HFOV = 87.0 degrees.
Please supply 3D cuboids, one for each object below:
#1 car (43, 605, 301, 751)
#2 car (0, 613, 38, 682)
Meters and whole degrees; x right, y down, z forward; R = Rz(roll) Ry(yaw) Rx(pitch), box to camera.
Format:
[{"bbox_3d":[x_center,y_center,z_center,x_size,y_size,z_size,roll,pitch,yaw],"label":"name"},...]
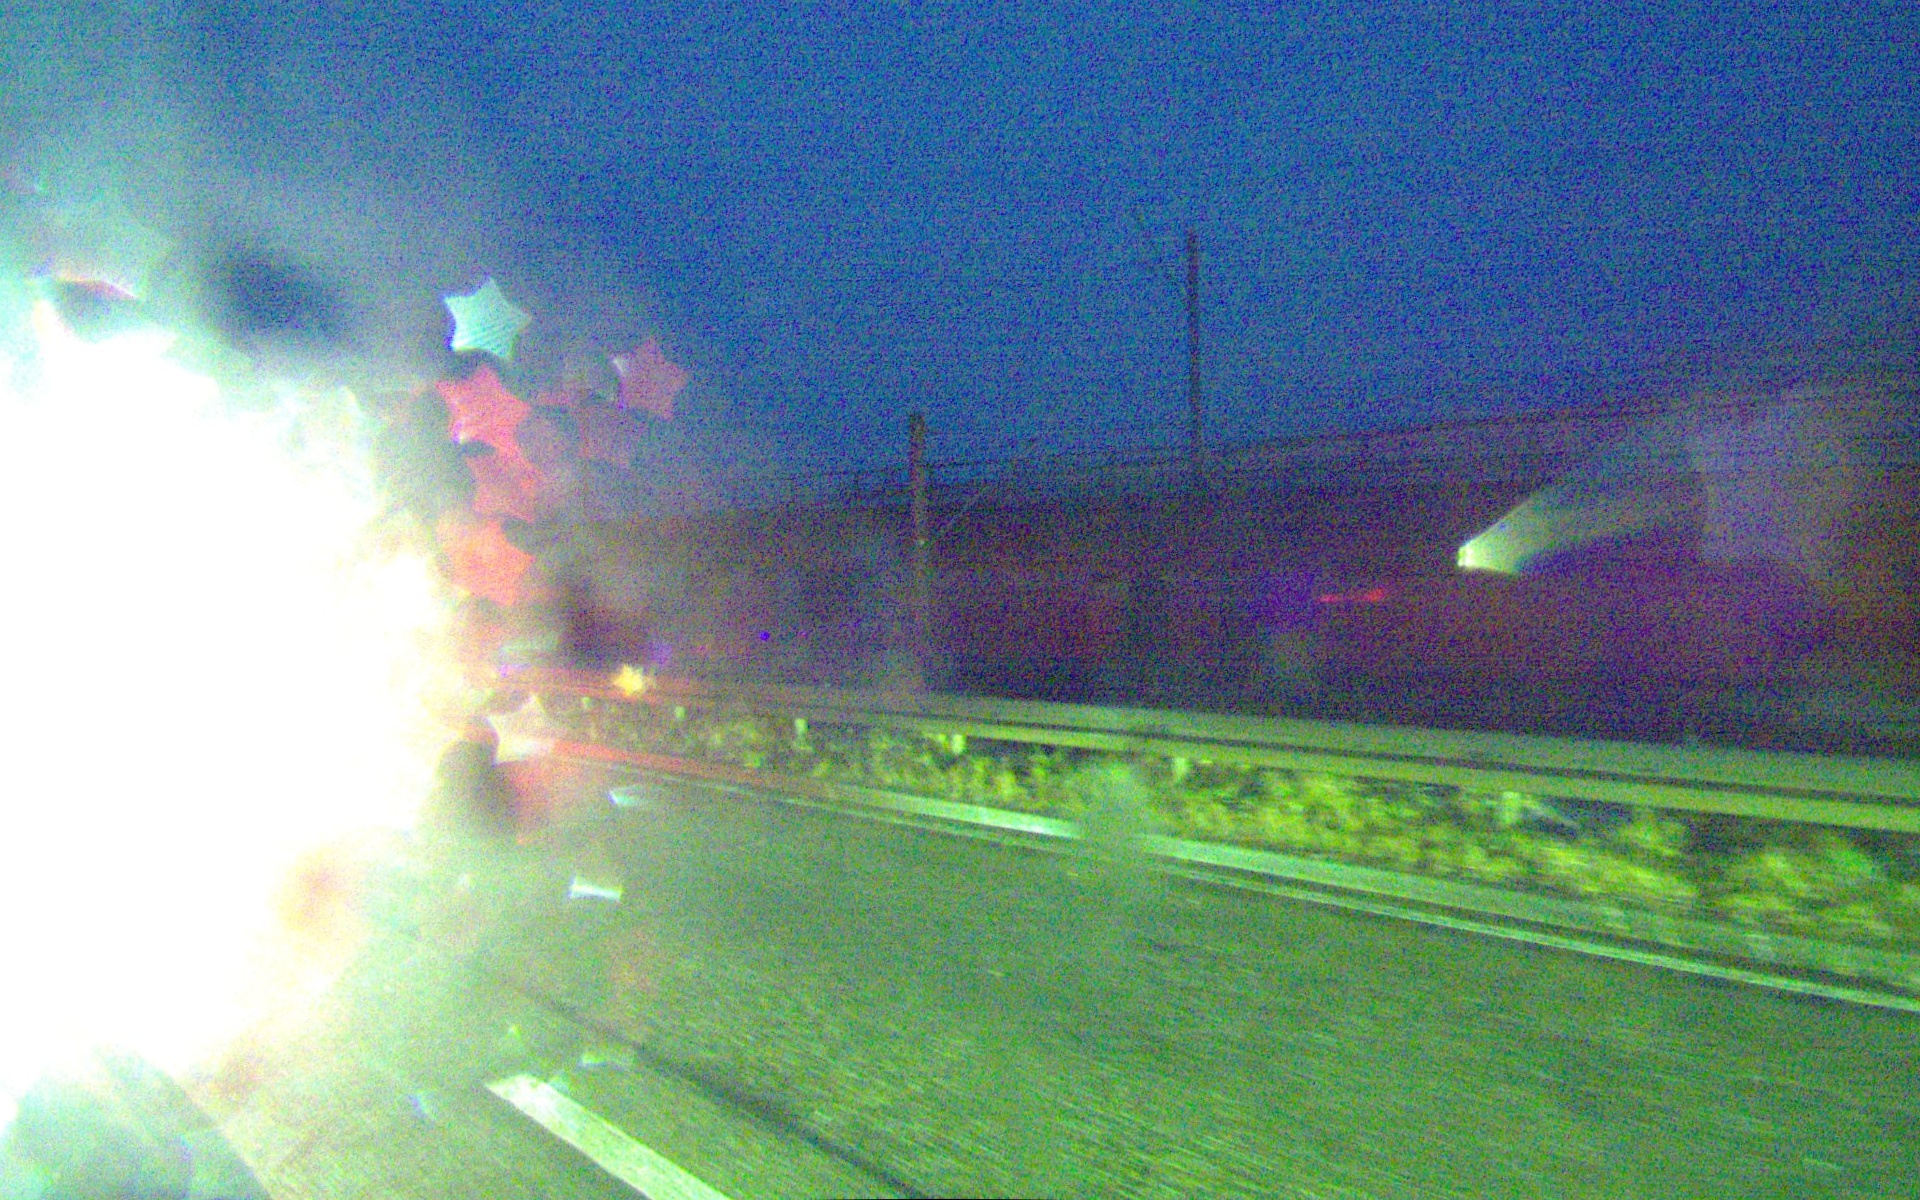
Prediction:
[{"bbox_3d":[-10.281,0.897,13.086,4.254,1.557,1.819,-2,0,41],"label":"car"},{"bbox_3d":[-24.902,1.161,25.490,4.121,1.668,1.932,-1,-2,40],"label":"car"}]
